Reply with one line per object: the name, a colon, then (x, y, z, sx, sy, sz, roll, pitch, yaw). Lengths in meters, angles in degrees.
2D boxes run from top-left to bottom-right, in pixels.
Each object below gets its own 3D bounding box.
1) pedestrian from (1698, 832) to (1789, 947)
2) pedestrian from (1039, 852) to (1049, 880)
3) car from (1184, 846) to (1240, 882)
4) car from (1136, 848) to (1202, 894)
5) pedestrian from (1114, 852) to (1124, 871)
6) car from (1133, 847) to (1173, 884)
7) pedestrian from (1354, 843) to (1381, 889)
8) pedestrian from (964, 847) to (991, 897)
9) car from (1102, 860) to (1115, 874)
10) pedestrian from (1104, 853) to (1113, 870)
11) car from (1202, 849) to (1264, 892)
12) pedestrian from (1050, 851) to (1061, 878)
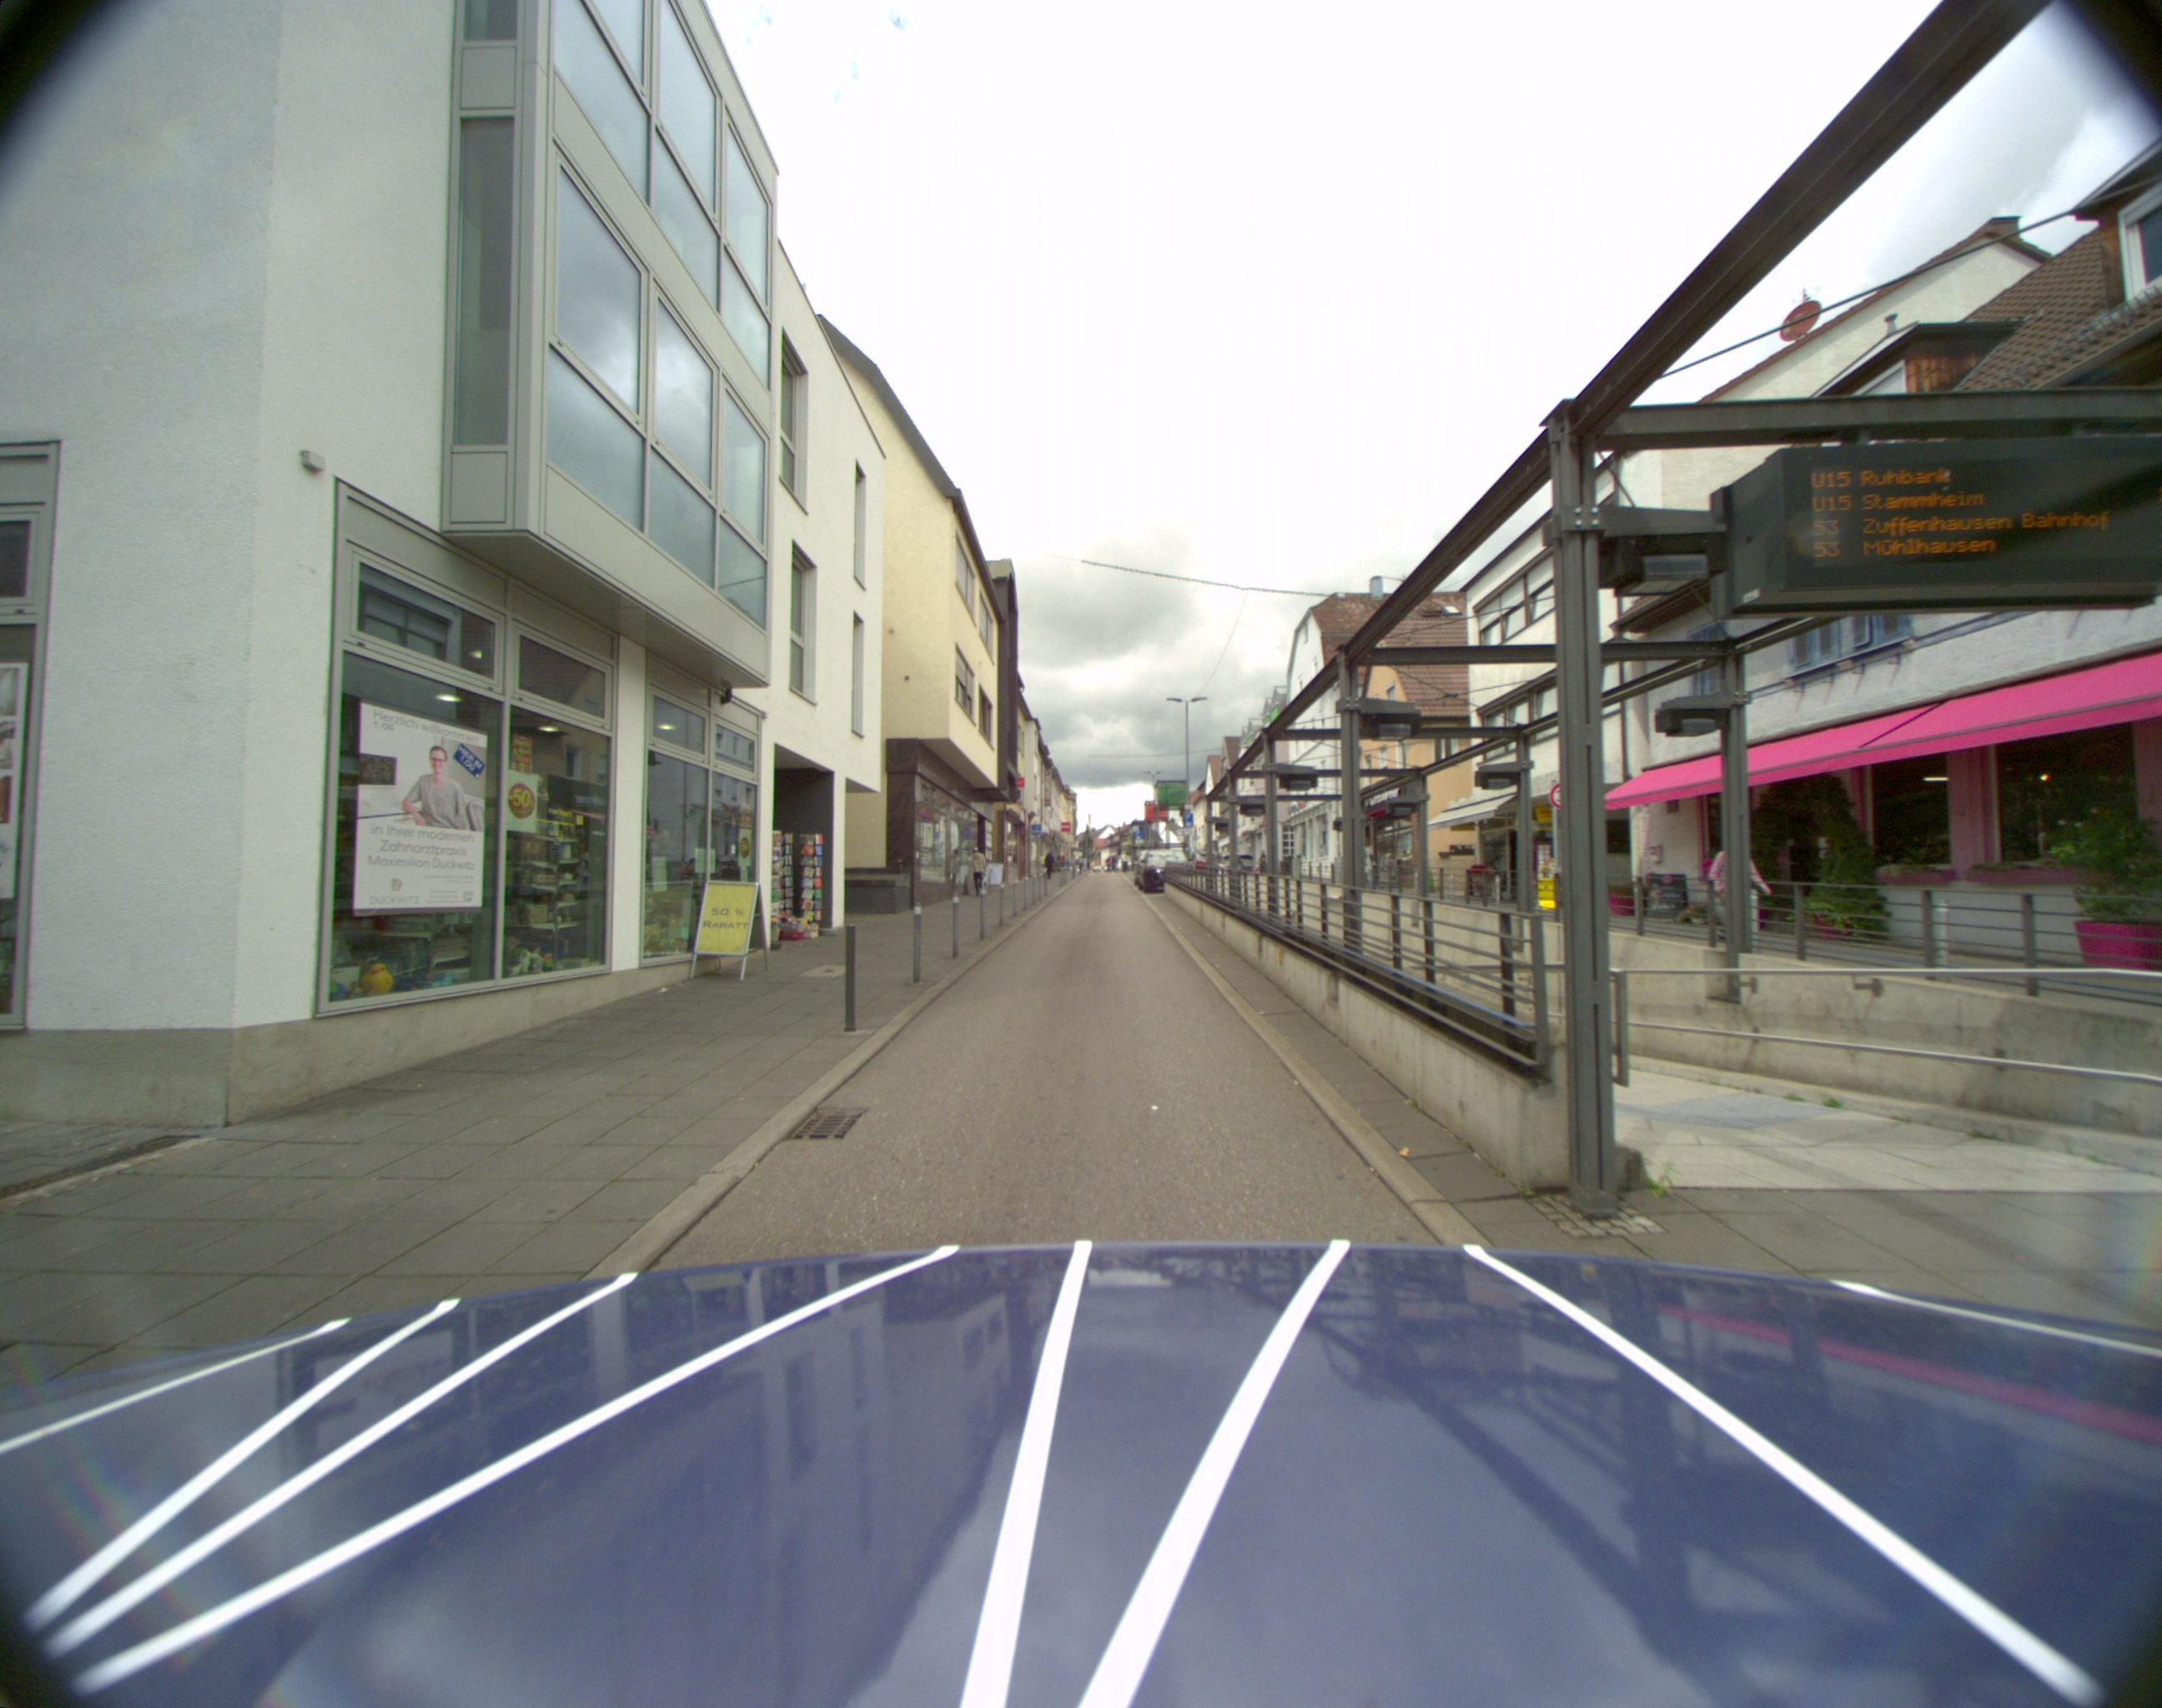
pedestrian: (10.322, 0.533, 11.865, 0.696, 1.730, 0.825, 0, 1, 4)
pedestrian: (-2.294, 0.746, 47.219, 0.639, 1.689, 0.708, 0, 1, -4)
car: (6.168, 0.437, 36.327, 1.998, 1.580, 4.495, -2, 0, 2)
car: (3.283, 0.597, 29.195, 1.998, 1.557, 4.431, -2, 0, 0)
pedestrian: (3.446, 0.676, 68.898, 0.761, 1.764, 0.851, 0, 1, -5)
car: (3.293, 0.506, 35.397, 1.576, 1.600, 3.533, -2, 0, 2)
pedestrian: (10.764, 0.438, 28.560, 0.748, 1.704, 0.664, 0, 1, 2)
pedestrian: (-3.600, 0.621, 26.451, 0.759, 1.663, 0.780, 2, 1, -1)
car: (4.215, 2.002, 118.030, 1.998, 2.002, 4.000, 0, 0, 2)
pedestrian: (2.461, 0.687, 67.753, 0.663, 1.519, 0.705, 0, 1, -5)
car: (5.861, 0.597, 29.685, 1.703, 1.538, 3.899, -2, 0, 2)
pedestrian: (-1.565, 0.635, 47.407, 0.663, 1.696, 0.780, 0, 1, -1)
